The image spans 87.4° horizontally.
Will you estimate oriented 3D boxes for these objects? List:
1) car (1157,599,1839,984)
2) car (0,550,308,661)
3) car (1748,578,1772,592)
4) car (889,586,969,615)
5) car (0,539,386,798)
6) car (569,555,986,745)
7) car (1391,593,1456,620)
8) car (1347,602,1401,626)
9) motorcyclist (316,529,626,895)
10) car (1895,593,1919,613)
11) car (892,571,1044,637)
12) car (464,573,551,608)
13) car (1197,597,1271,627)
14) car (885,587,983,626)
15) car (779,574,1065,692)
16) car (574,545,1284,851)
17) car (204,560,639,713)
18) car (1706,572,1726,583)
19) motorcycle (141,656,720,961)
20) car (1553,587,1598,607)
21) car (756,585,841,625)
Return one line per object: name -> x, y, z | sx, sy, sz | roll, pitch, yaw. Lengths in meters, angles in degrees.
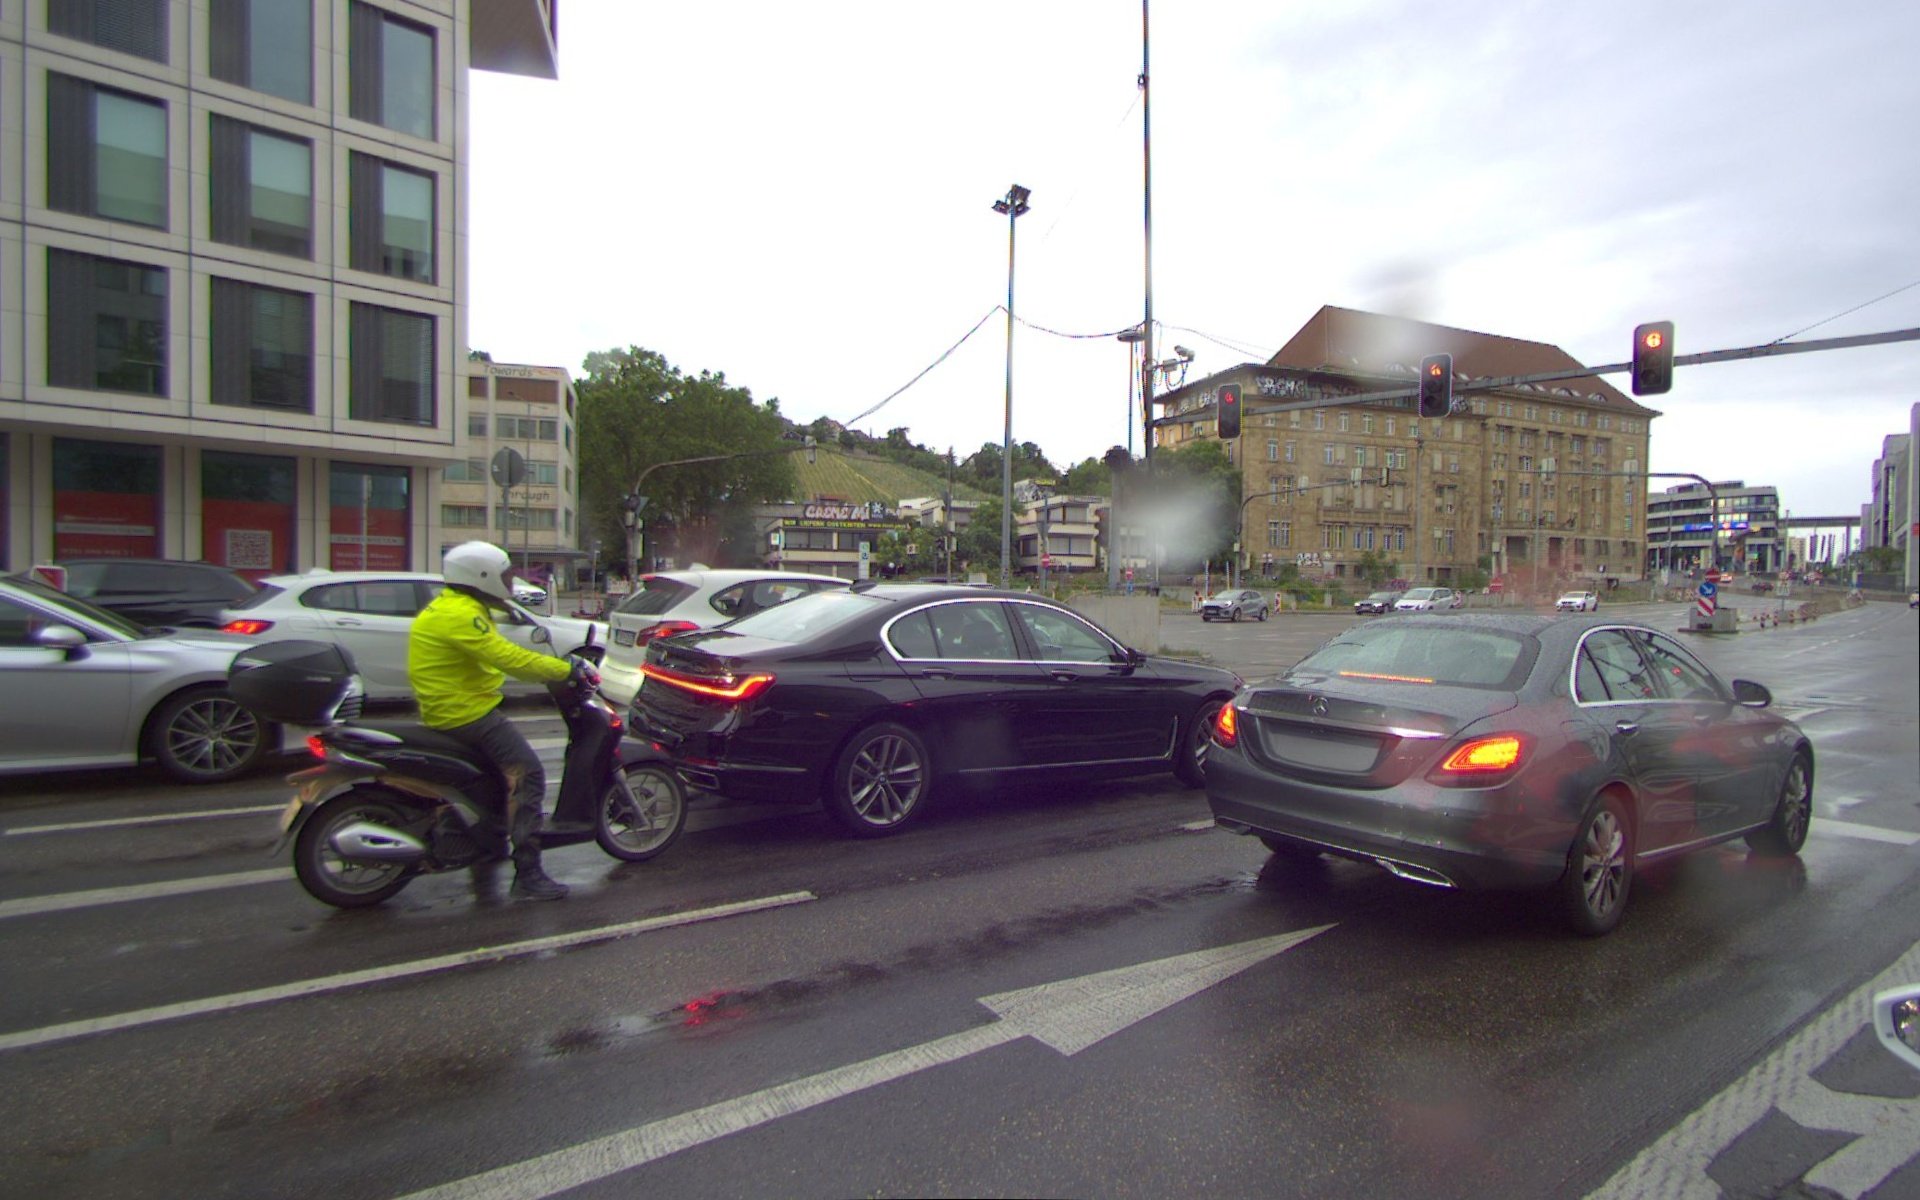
car -> 3.355, 0.739, 5.904 | 4.443, 1.421, 1.771 | 0, 2, -36
car -> -12.056, 0.103, 14.593 | 4.111, 1.443, 1.681 | 2, -1, -43
car -> 126.678, -2.411, 159.029 | 1.962, 2.040, 3.997 | 3, 1, 24
car -> -1.688, 0.022, 53.817 | 3.925, 1.339, 1.652 | 3, 1, 26
car -> -6.543, 0.362, 6.459 | 4.756, 1.541, 1.817 | 2, 1, -37
car -> -1.796, 0.460, 10.573 | 3.968, 1.637, 1.718 | 2, 1, -40
car -> 25.278, 0.372, 54.749 | 4.164, 1.277, 1.751 | 2, 1, -43
car -> 24.416, 0.859, 59.183 | 3.308, 1.277, 1.720 | 2, 1, -45
motorcyclist -> -2.343, 0.457, 4.812 | 1.092, 1.495, 0.933 | 2, 1, -41
car -> 84.975, 0.272, 89.369 | 1.967, 1.662, 3.987 | 3, 1, 35
car -> 0.280, 0.133, 26.586 | 1.680, 1.595, 3.975 | 3, 1, 45
car -> -24.477, -0.499, 54.329 | 4.369, 1.670, 1.998 | 3, 1, 27
car -> 13.215, 0.595, 48.348 | 3.974, 1.277, 1.607 | 2, 1, -45
car -> -1.291, 0.308, 48.901 | 4.318, 1.684, 1.996 | 3, 1, 32
car -> -0.569, 0.518, 15.582 | 4.021, 1.621, 1.776 | 2, 1, -27
car -> 0.040, 0.538, 7.281 | 4.957, 1.535, 1.873 | 2, 1, -37
car -> -5.837, 0.367, 11.127 | 3.961, 1.391, 1.768 | 2, 1, -40
car -> 143.046, -4.228, 190.079 | 1.960, 1.840, 4.000 | 3, 1, 19
motorcycle -> -2.403, 0.823, 4.777 | 2.277, 1.002, 0.933 | 1, 1, -42
car -> 44.355, -0.195, 72.381 | 3.971, 1.277, 1.751 | 2, 1, -43
car -> -7.478, 0.217, 46.313 | 3.939, 1.617, 1.668 | 3, 1, 40
